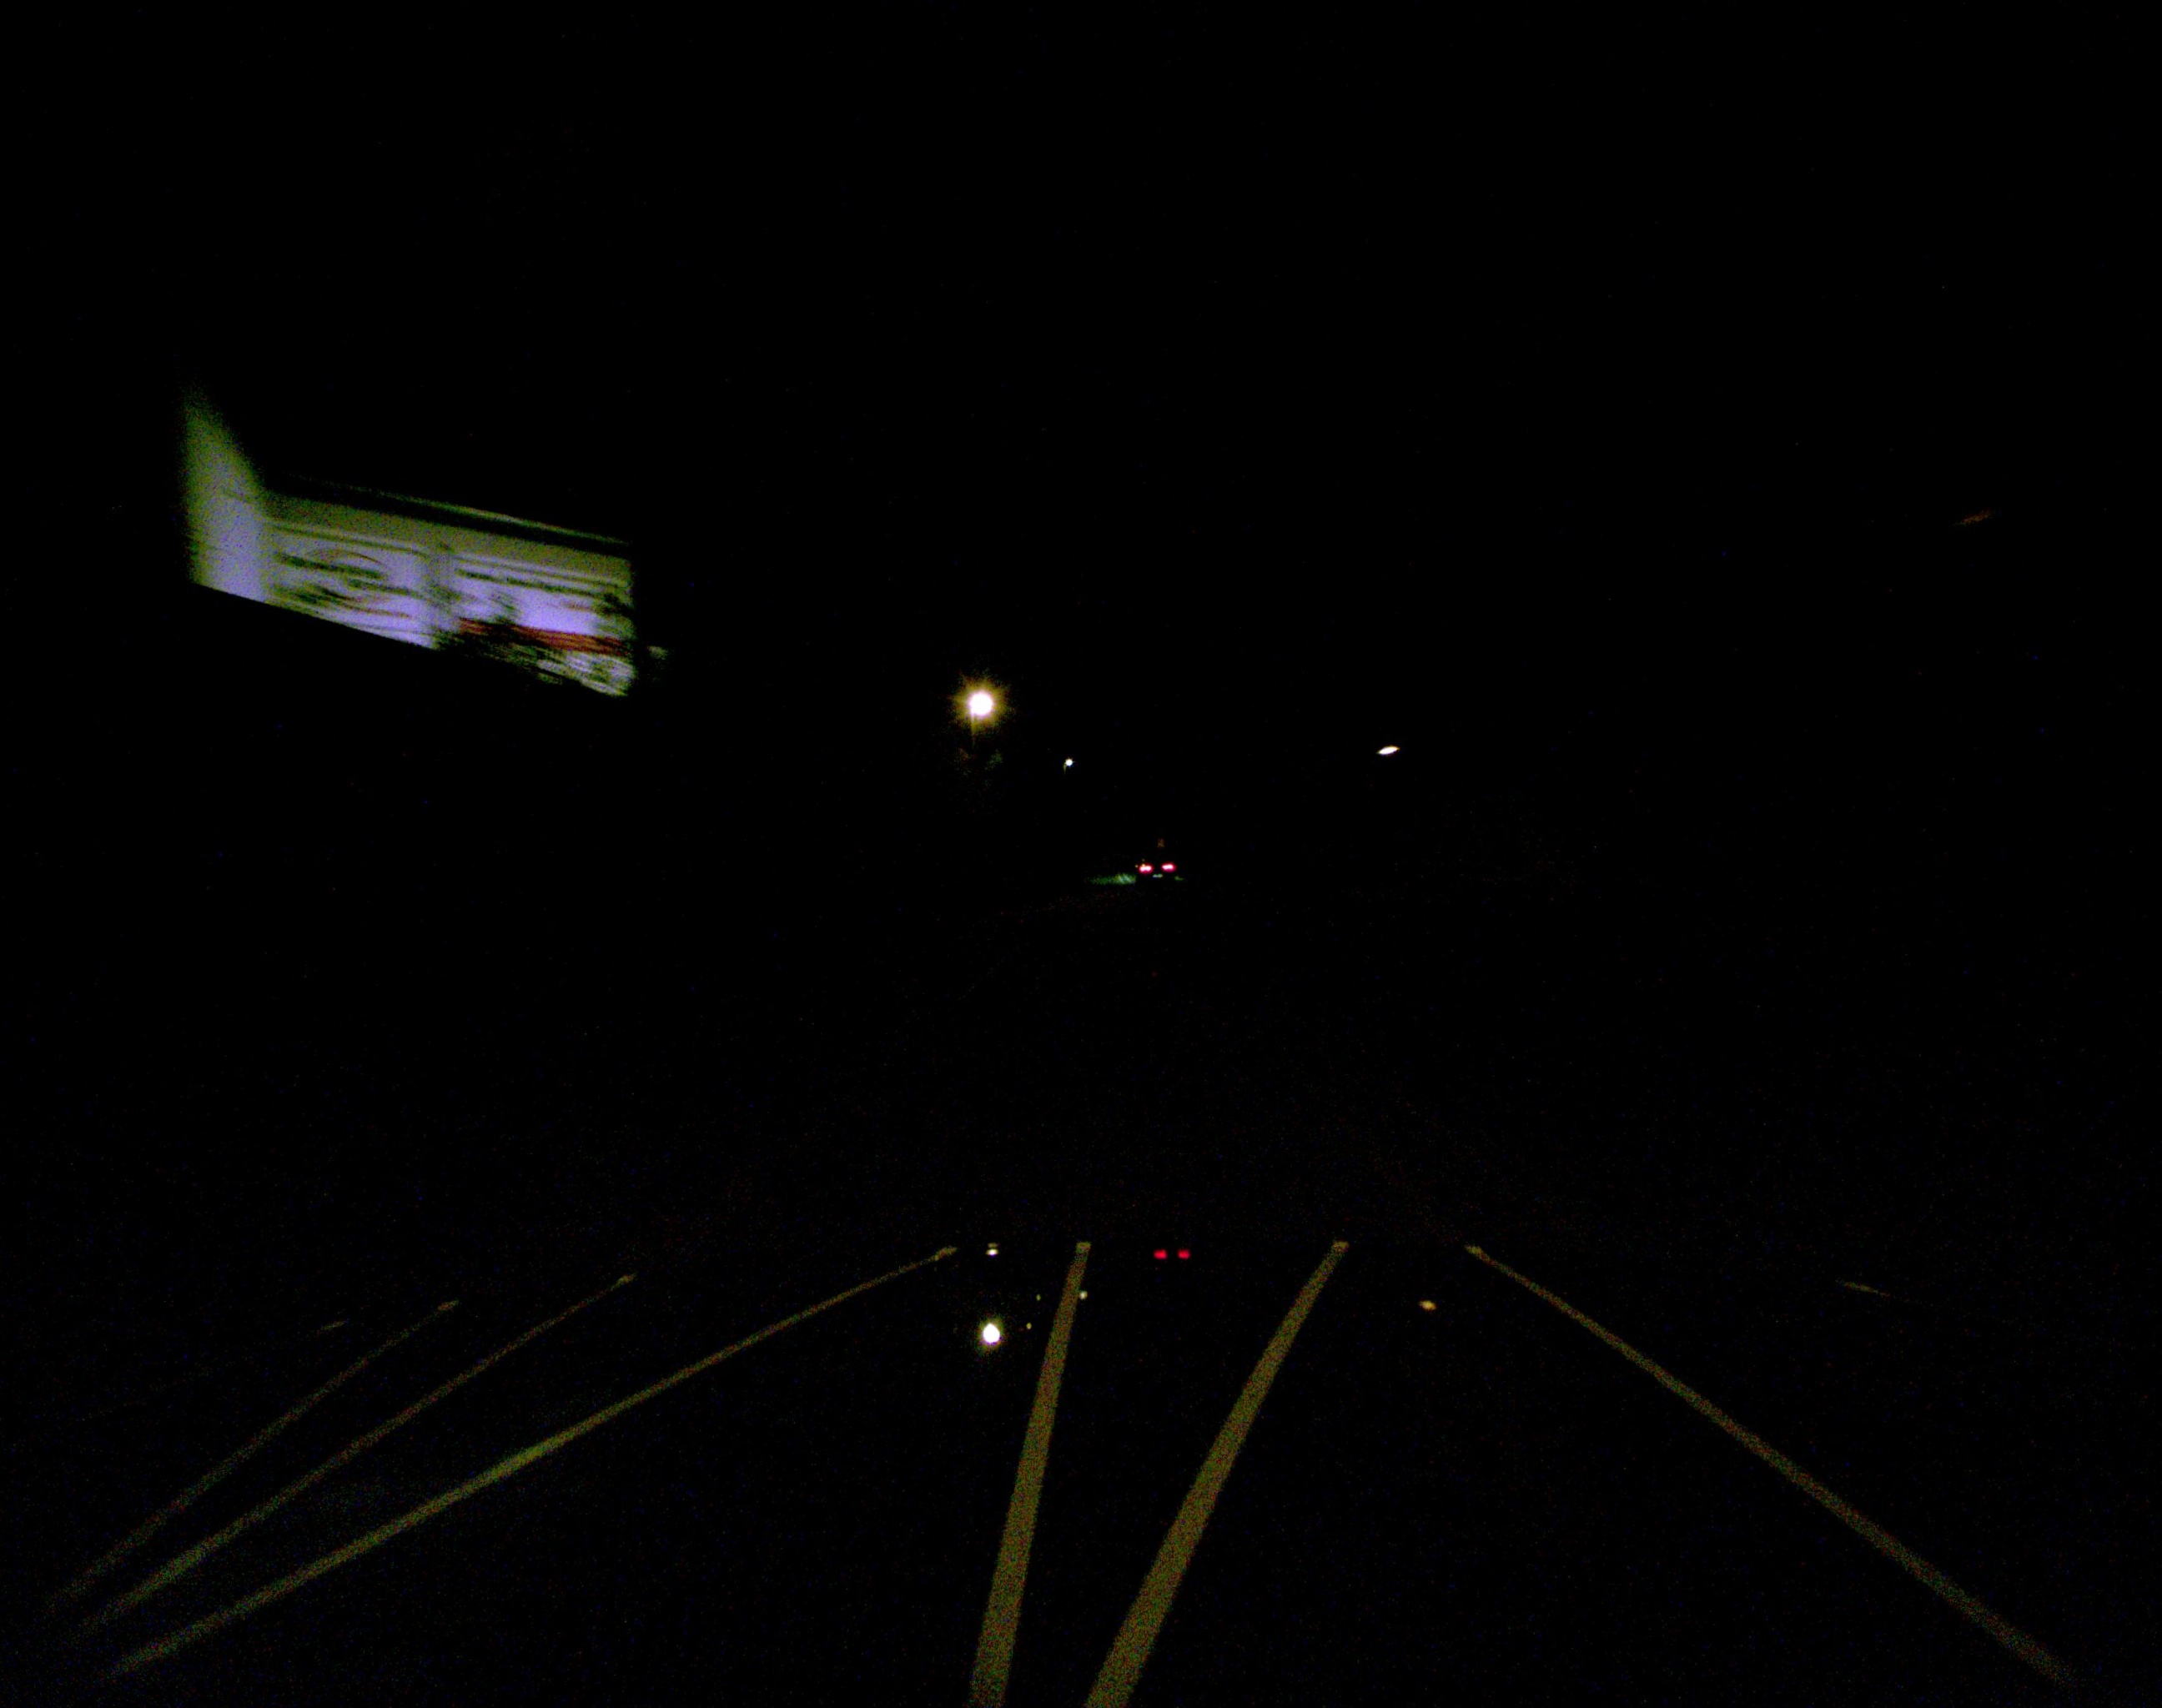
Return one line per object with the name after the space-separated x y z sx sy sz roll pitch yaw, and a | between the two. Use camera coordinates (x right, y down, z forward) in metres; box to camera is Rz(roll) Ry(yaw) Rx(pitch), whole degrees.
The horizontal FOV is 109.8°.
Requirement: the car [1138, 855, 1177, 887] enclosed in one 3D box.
4.169 0.899 41.872 1.886 1.545 4.218 -2 1 3 | car
